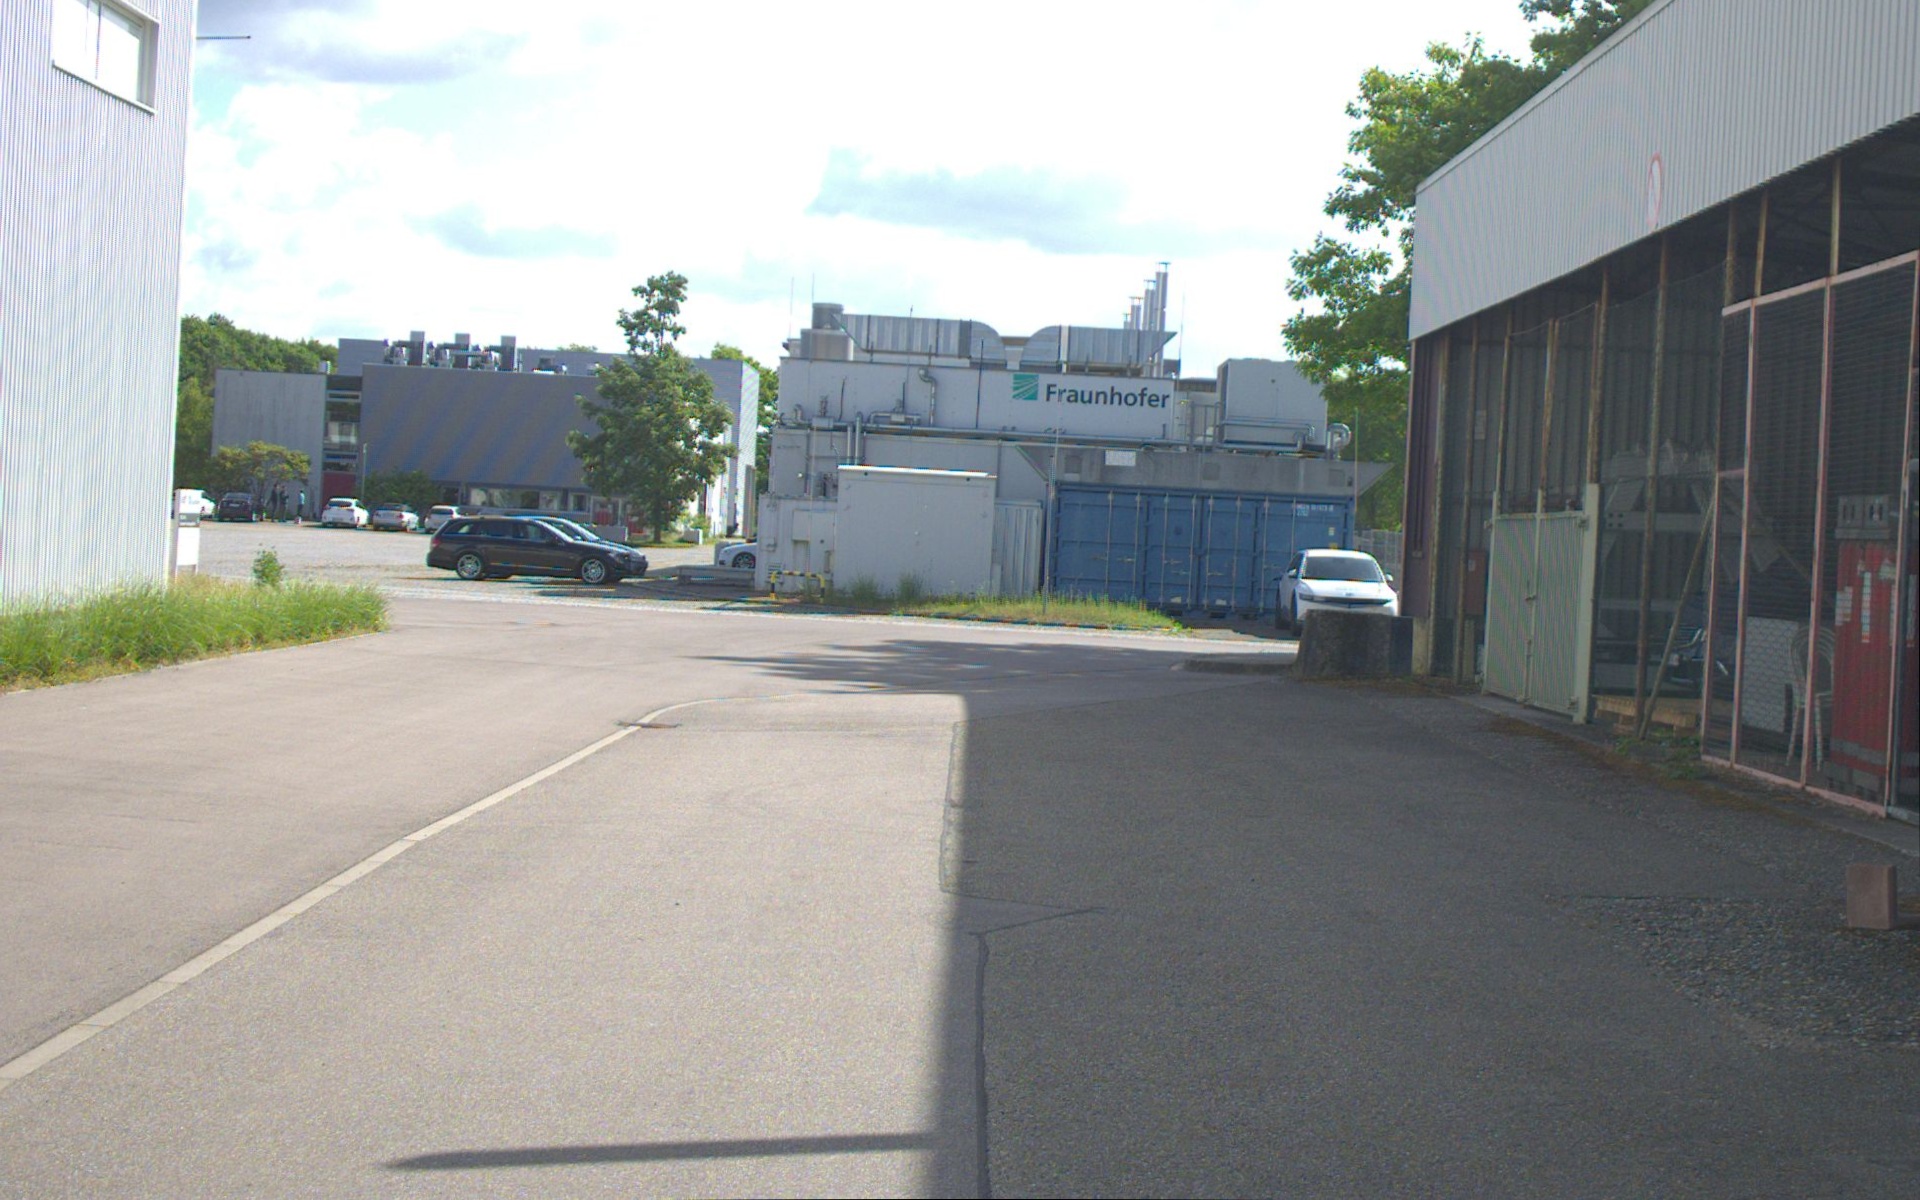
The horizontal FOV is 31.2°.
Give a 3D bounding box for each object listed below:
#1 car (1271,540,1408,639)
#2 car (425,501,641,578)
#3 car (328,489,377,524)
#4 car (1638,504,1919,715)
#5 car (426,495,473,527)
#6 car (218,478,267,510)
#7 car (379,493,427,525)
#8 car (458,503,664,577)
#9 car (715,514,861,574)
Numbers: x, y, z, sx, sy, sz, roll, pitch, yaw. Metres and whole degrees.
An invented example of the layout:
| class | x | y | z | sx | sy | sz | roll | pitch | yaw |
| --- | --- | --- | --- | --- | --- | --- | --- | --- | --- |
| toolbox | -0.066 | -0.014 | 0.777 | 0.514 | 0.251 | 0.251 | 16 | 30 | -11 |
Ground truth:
| class | x | y | z | sx | sy | sz | roll | pitch | yaw |
| --- | --- | --- | --- | --- | --- | --- | --- | --- | --- |
| car | 7.092 | -0.227 | 64.603 | 1.981 | 1.588 | 4.341 | 4 | 2 | 0 |
| car | -9.566 | -1.343 | 77.299 | 4.529 | 1.438 | 1.987 | 3 | -1 | 1 |
| car | -30.785 | -4.727 | 174.365 | 1.877 | 1.684 | 4.036 | 1 | 1 | -2 |
| car | 9.629 | 0.157 | 34.118 | 5.164 | 1.911 | 2.279 | 3 | 1 | -5 |
| car | -25.893 | -4.523 | 174.406 | 1.877 | 1.532 | 4.036 | 1 | 1 | -2 |
| car | -36.340 | -5.343 | 174.148 | 1.877 | 1.532 | 4.036 | 1 | 1 | -5 |
| car | -28.221 | -4.581 | 174.199 | 1.877 | 1.532 | 4.036 | 1 | 1 | -2 |
| car | -9.326 | -1.397 | 80.556 | 4.529 | 1.438 | 1.904 | 3 | -1 | 1 |
| car | -5.235 | -1.710 | 105.016 | 4.279 | 1.564 | 1.987 | 3 | -1 | 1 |
